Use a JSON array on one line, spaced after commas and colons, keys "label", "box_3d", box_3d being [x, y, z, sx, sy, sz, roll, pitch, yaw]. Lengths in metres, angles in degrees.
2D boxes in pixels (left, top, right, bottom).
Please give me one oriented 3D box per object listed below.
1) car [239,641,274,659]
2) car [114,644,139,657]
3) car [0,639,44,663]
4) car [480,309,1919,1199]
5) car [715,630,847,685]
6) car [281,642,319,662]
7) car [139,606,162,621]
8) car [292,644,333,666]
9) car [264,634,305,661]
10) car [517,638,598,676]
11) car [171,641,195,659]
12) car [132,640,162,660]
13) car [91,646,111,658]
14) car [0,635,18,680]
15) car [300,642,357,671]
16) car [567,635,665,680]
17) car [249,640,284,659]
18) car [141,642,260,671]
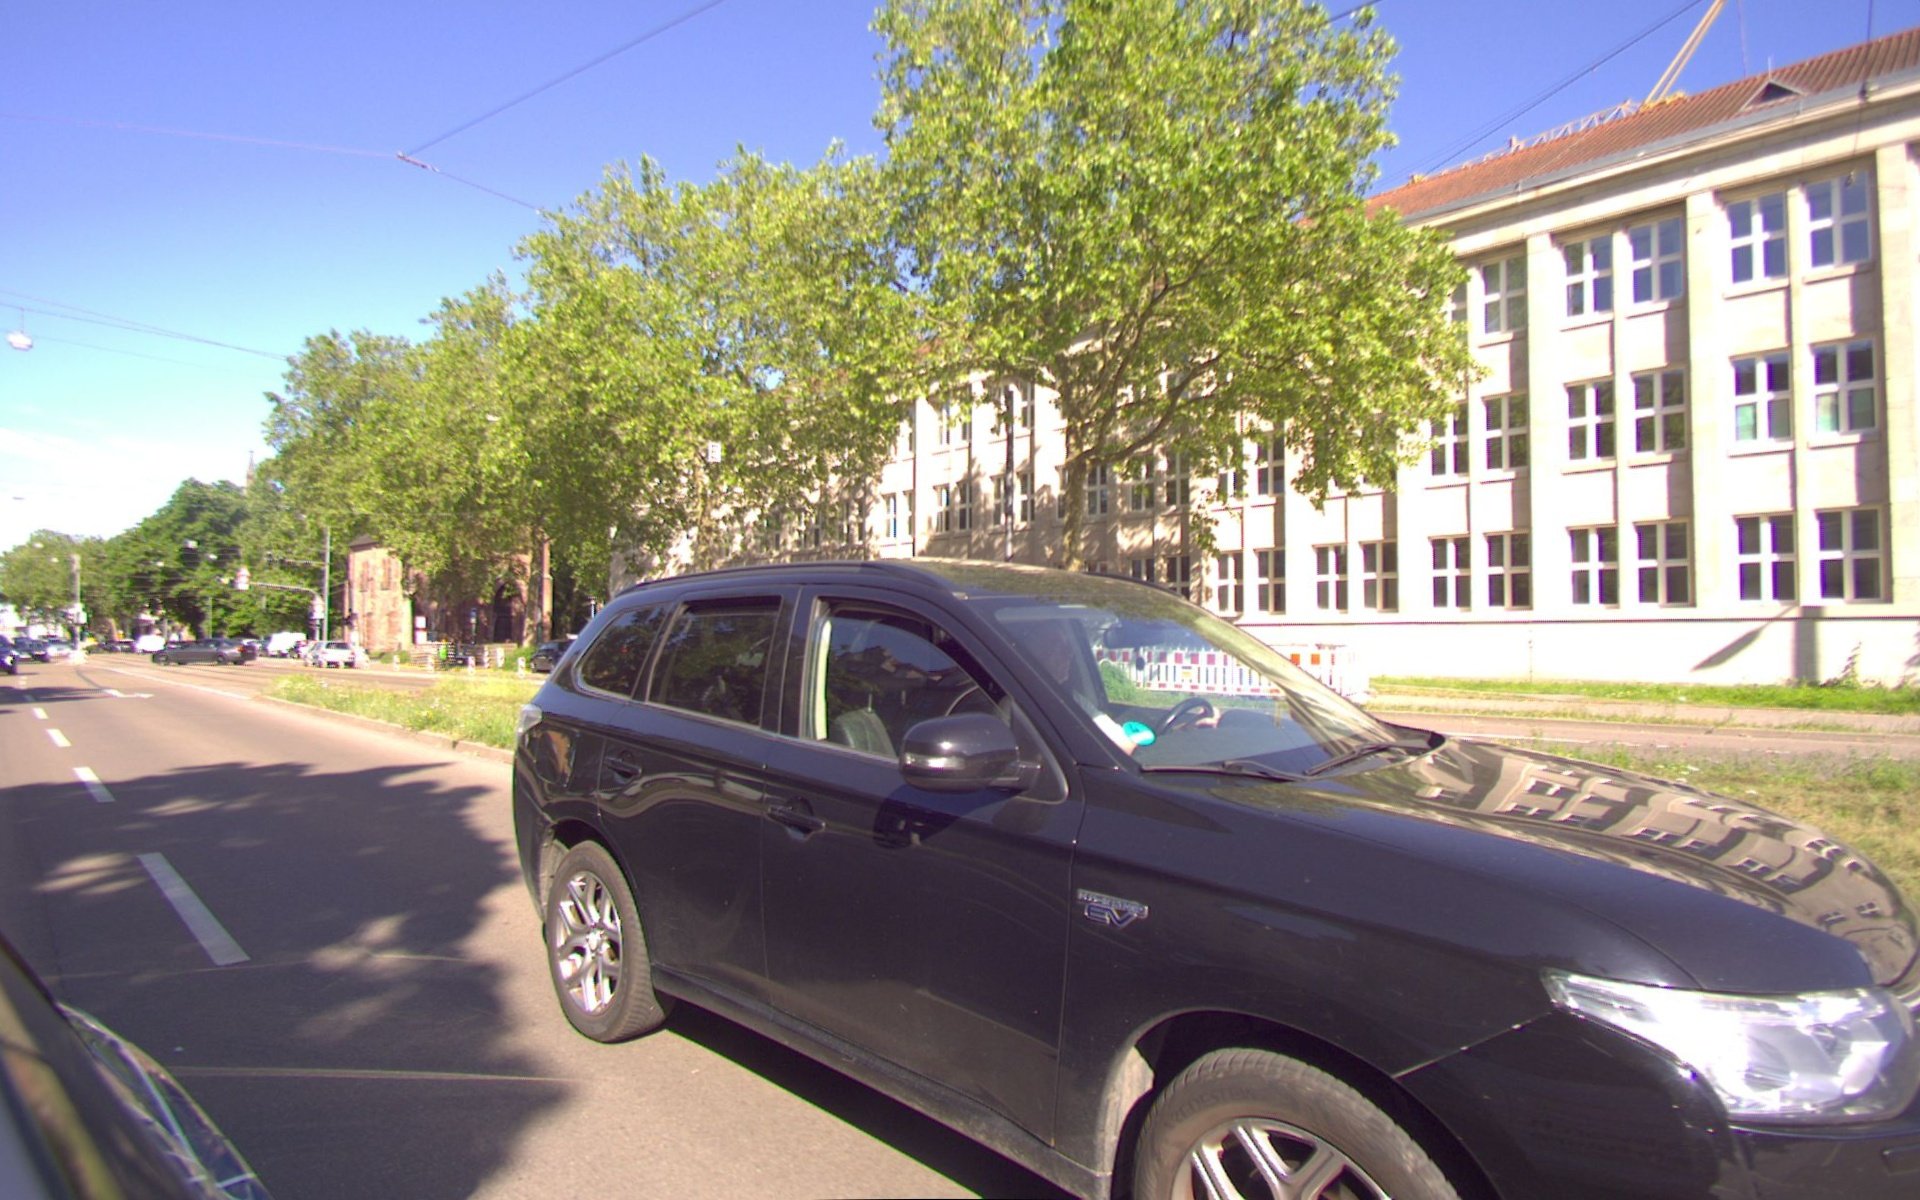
[{"label": "car", "box_3d": [-63.125, 4.485, 90.807, 4.308, 1.564, 1.770, -3, -5, 44]}, {"label": "car", "box_3d": [-94.422, 5.680, 114.668, 1.772, 1.440, 4.379, 4, -5, -44]}, {"label": "car", "box_3d": [-57.082, 3.062, 60.701, 4.359, 1.438, 1.871, -1, -4, 30]}, {"label": "car", "box_3d": [0.341, 0.590, 3.152, 4.644, 1.695, 1.815, -2, -3, 45]}, {"label": "car", "box_3d": [-5.666, 1.808, 31.762, 4.396, 1.600, 1.809, -3, -5, 44]}, {"label": "car", "box_3d": [-52.123, 4.116, 79.884, 1.770, 1.564, 3.862, 4, -5, -44]}, {"label": "car", "box_3d": [-99.927, 1.685, 124.849, 1.769, 1.564, 4.310, 4, -6, -44]}, {"label": "car", "box_3d": [-48.724, 4.153, 76.136, 3.679, 1.586, 1.754, -4, -6, 45]}, {"label": "car", "box_3d": [-55.700, 3.945, 83.422, 4.594, 2.113, 1.894, -3, -5, 44]}, {"label": "car", "box_3d": [-17.485, 2.465, 43.911, 4.190, 1.559, 1.653, -3, -5, 44]}, {"label": "car", "box_3d": [-71.131, 4.602, 92.628, 1.595, 1.423, 4.095, 4, -7, -39]}, {"label": "car", "box_3d": [-82.303, 5.089, 102.426, 2.036, 1.906, 4.522, 6, -6, -42]}, {"label": "car", "box_3d": [-116.006, 7.082, 136.684, 1.769, 1.564, 4.310, 4, -5, -44]}, {"label": "car", "box_3d": [-37.375, 2.170, 38.528, 1.969, 1.630, 4.270, 3, -4, -40]}, {"label": "car", "box_3d": [-33.618, 3.028, 53.851, 1.808, 1.464, 4.175, 5, -5, -42]}, {"label": "car", "box_3d": [-13.544, 2.253, 39.739, 4.396, 1.652, 1.809, -3, -6, 44]}, {"label": "car", "box_3d": [-59.911, 4.281, 87.392, 1.770, 1.564, 3.862, 4, -5, -44]}, {"label": "car", "box_3d": [-41.320, 3.081, 55.178, 4.884, 1.464, 1.838, 1, -4, -6]}]
